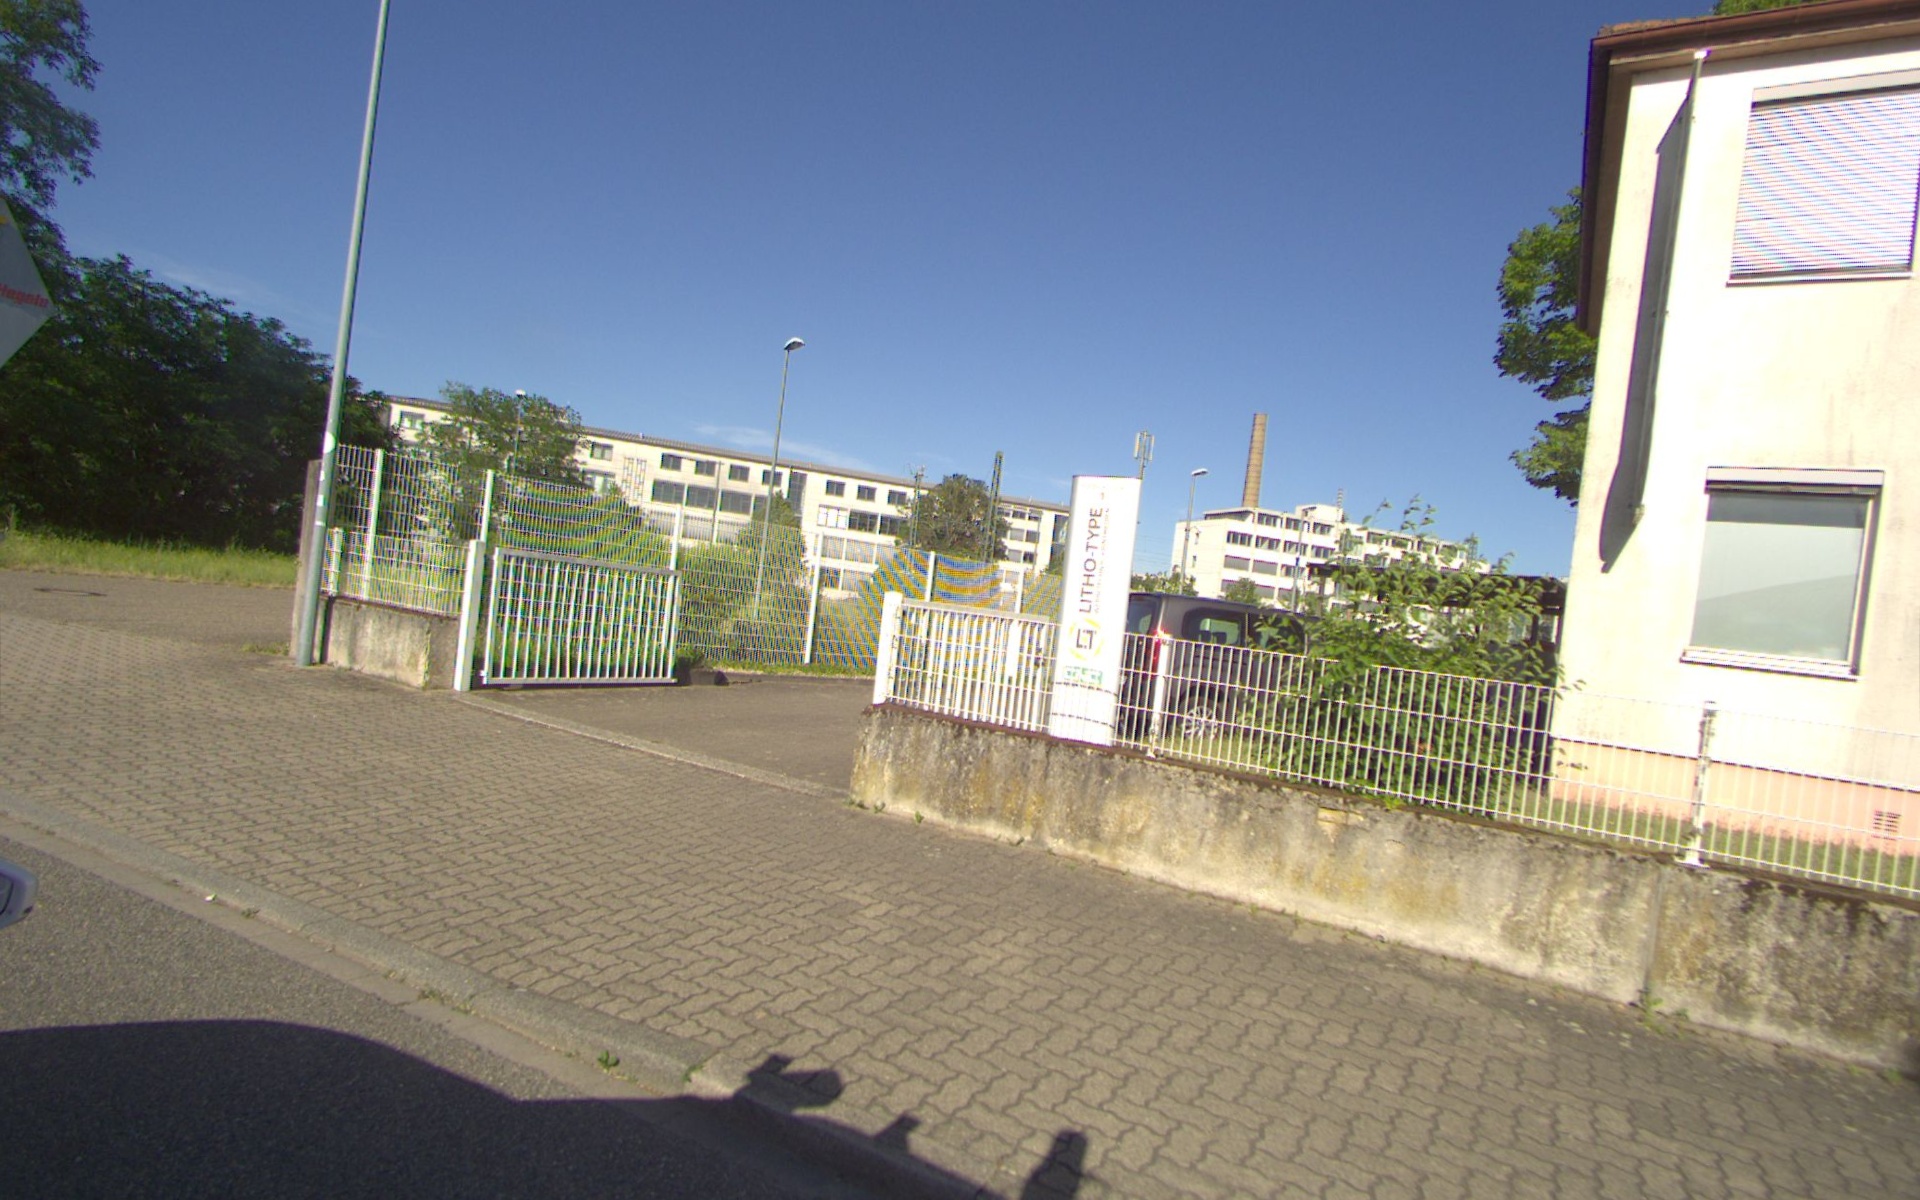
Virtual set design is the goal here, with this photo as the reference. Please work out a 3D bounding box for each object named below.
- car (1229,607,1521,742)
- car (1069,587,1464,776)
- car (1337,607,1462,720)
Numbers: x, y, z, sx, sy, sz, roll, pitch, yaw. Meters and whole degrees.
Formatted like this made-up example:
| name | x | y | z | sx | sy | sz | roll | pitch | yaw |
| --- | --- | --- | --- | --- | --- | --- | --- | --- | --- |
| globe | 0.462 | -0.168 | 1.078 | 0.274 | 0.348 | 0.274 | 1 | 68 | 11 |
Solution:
| name | x | y | z | sx | sy | sz | roll | pitch | yaw |
| --- | --- | --- | --- | --- | --- | --- | --- | --- | --- |
| car | 7.337 | 1.298 | 17.975 | 4.295 | 1.800 | 1.995 | 7 | 1 | -12 |
| car | 3.855 | 1.010 | 12.974 | 4.295 | 1.800 | 1.995 | 7 | 1 | -12 |
| car | 11.906 | 1.726 | 27.065 | 1.810 | 2.573 | 5.017 | 7 | 1 | 36 |
